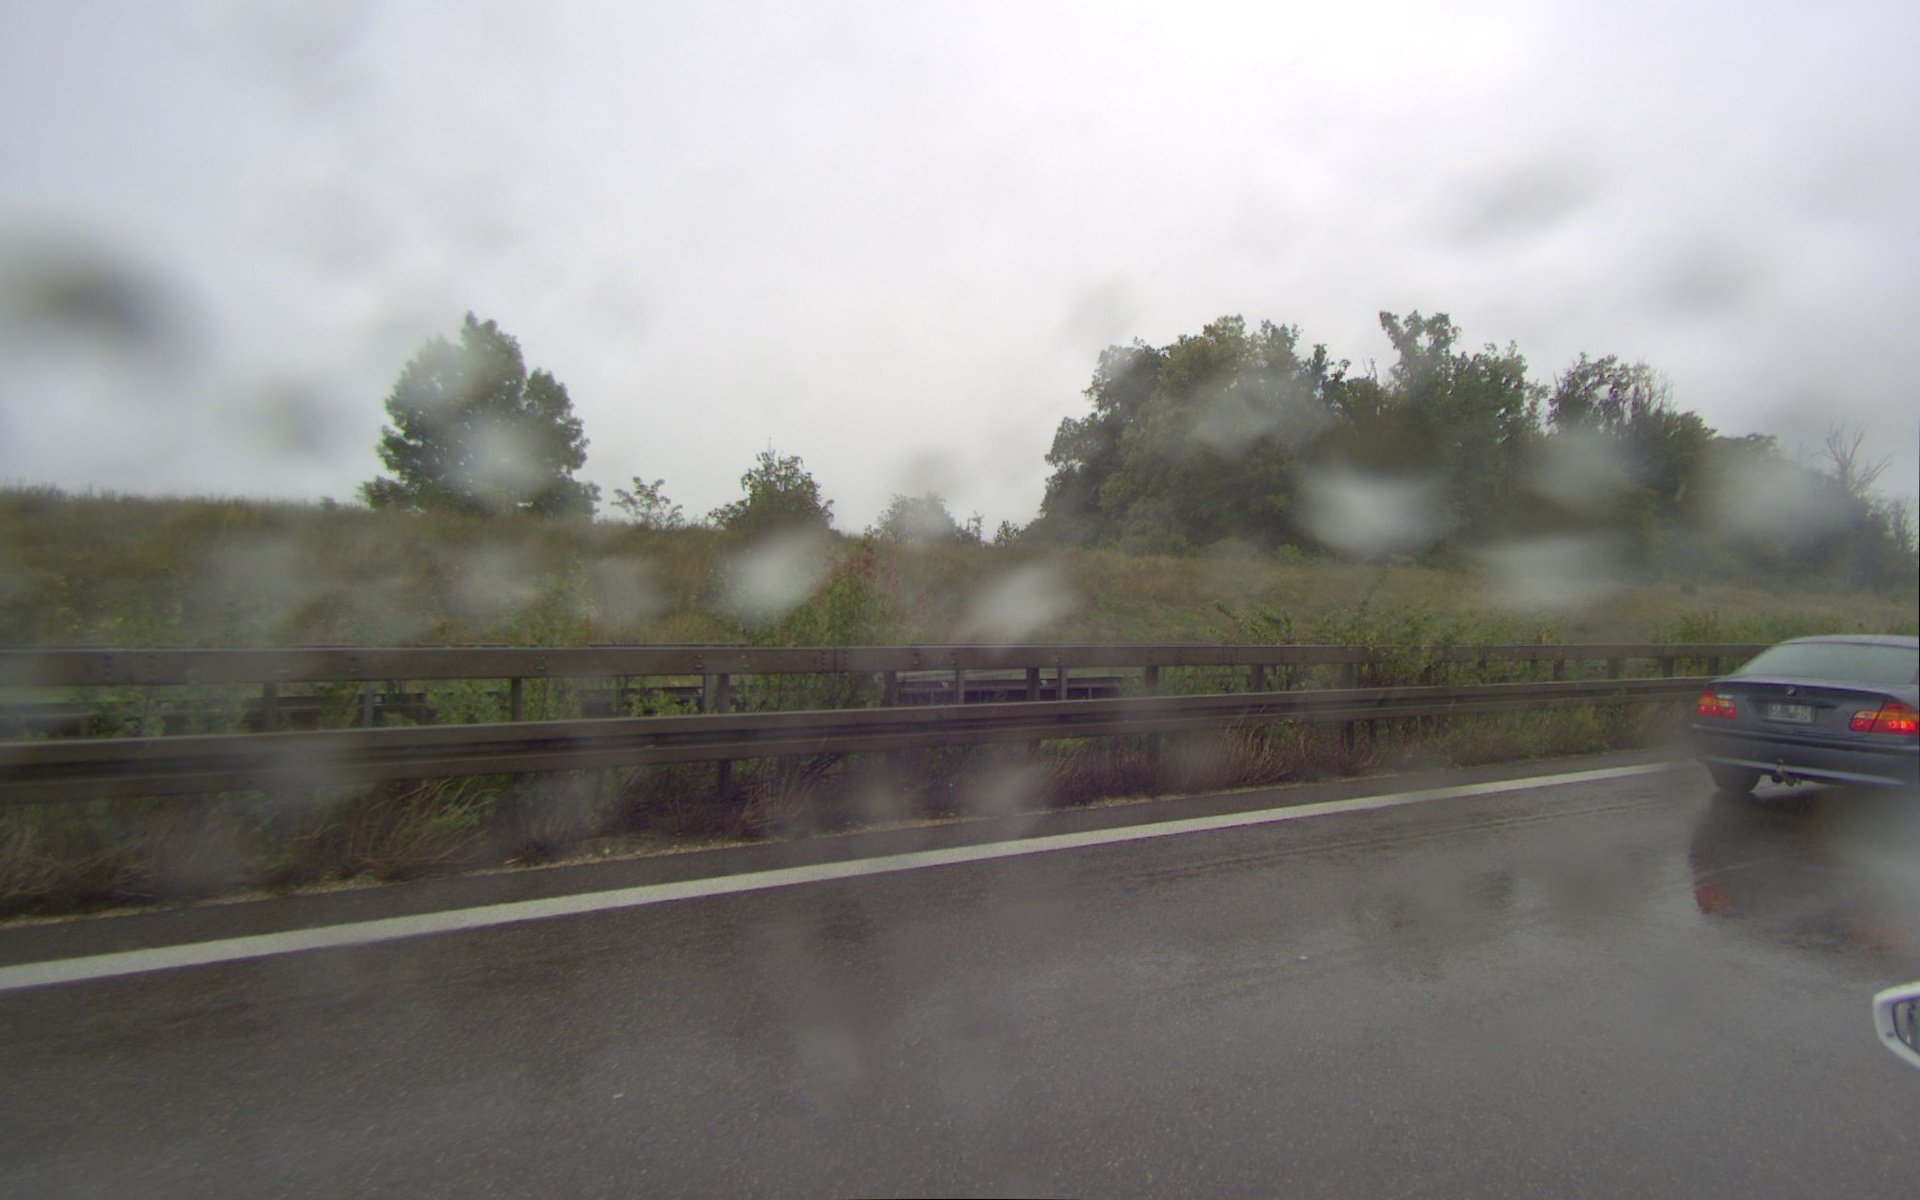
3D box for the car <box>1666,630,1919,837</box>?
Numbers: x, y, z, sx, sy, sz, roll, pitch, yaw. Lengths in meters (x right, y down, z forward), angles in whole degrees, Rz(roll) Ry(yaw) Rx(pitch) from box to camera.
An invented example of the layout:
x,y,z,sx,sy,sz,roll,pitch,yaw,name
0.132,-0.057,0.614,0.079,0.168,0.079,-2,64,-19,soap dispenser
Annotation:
x,y,z,sx,sy,sz,roll,pitch,yaw,name
8.244,1.016,8.813,4.178,1.418,1.710,2,-1,-29,car
